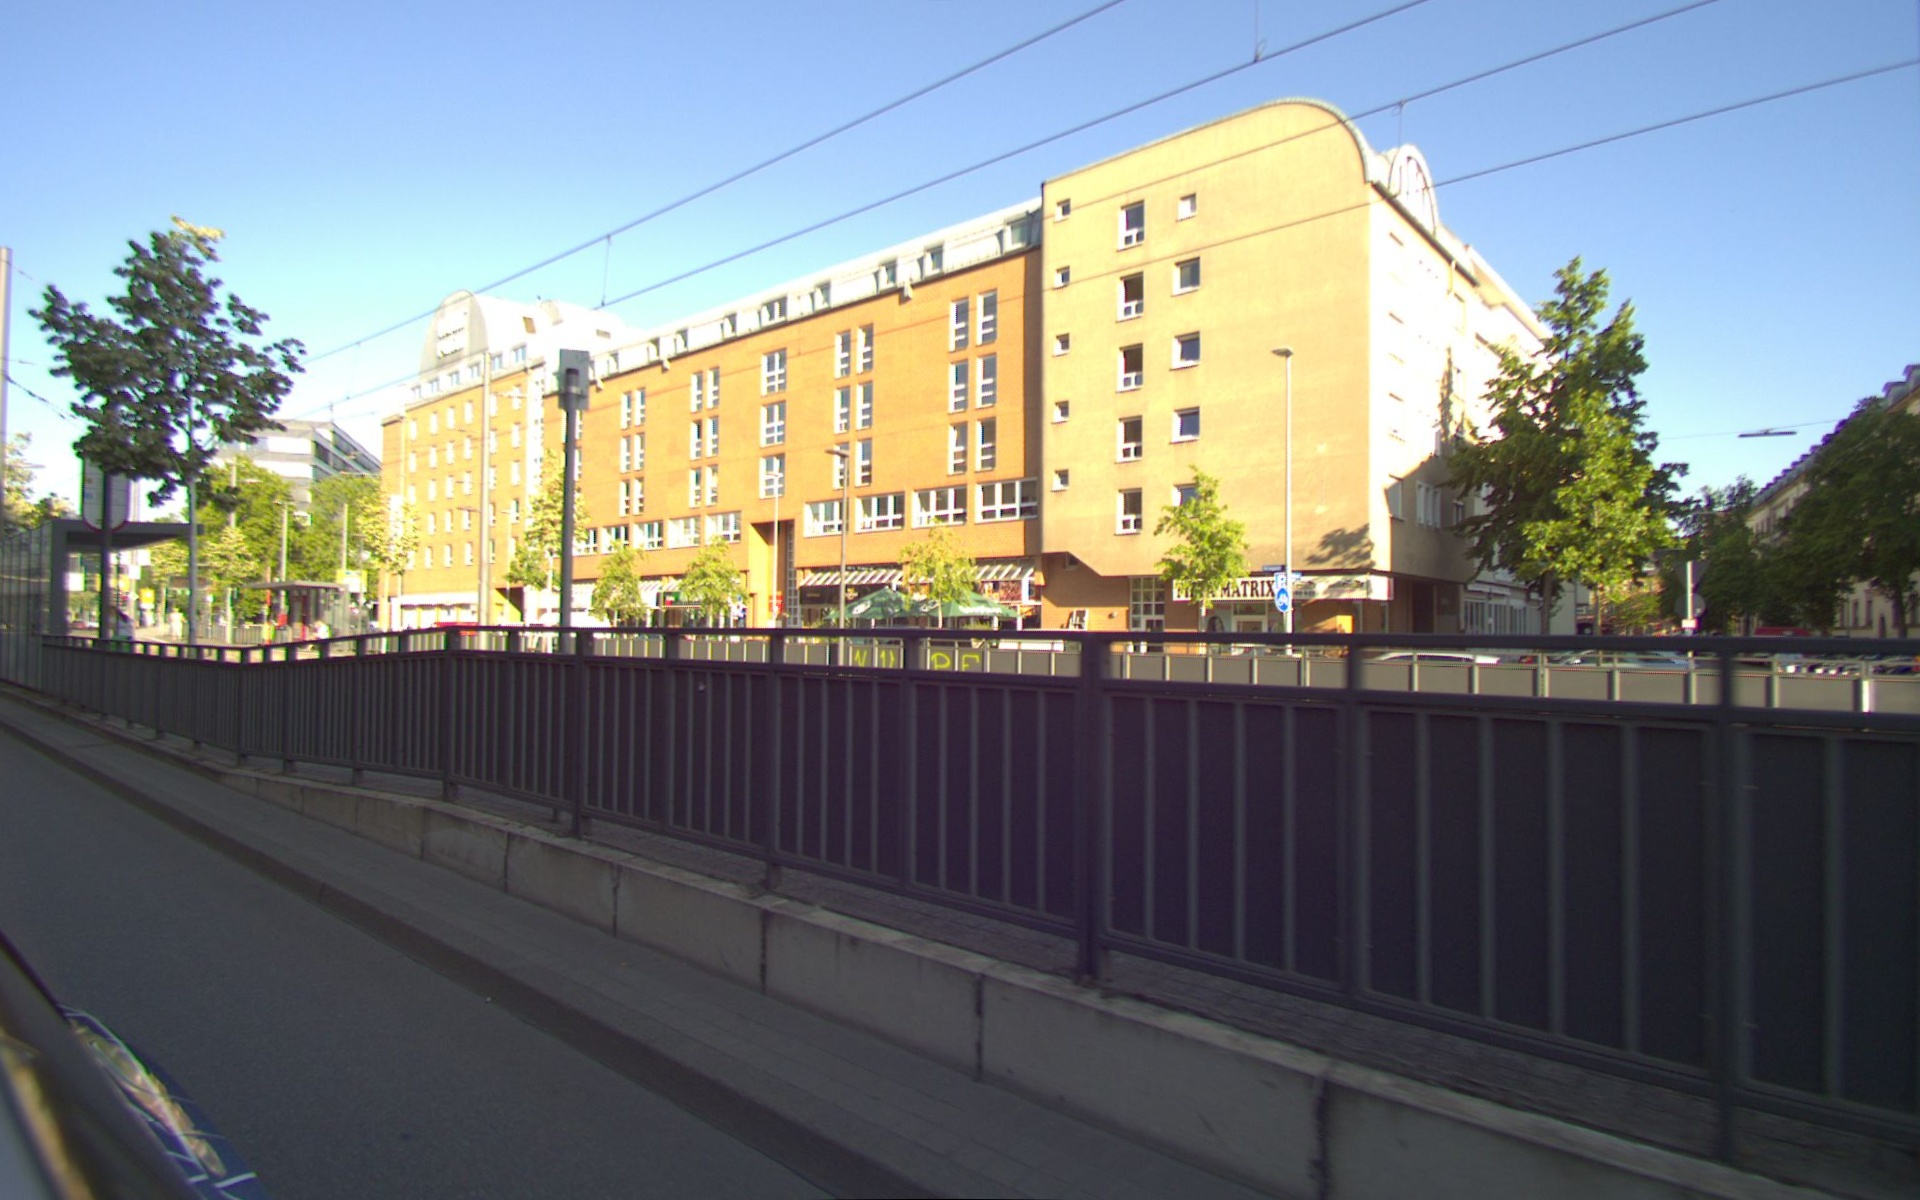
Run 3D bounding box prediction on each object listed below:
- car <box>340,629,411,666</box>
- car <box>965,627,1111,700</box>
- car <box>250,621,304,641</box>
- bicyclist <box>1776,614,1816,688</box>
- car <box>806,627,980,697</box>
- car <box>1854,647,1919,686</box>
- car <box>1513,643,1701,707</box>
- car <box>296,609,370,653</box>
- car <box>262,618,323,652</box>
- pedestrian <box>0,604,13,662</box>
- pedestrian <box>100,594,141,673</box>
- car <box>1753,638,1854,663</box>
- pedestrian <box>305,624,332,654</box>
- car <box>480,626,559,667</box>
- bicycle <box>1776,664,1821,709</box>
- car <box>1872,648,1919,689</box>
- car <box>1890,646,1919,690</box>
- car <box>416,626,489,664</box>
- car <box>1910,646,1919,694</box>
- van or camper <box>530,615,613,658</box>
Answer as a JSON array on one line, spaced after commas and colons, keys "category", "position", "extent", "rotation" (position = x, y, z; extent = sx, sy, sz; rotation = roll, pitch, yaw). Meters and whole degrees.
[{"category": "car", "position": [-30.382, 2.468, 52.601], "extent": [4.313, 1.881, 1.866], "rotation": [-2, -3, 41]}, {"category": "car", "position": [2.297, 1.877, 30.619], "extent": [1.970, 2.029, 4.151], "rotation": [2, -4, -43]}, {"category": "car", "position": [-72.002, 3.247, 106.780], "extent": [1.999, 2.029, 4.324], "rotation": [-1, -2, 42]}, {"category": "bicyclist", "position": [19.359, 1.173, 23.449], "extent": [0.665, 1.693, 0.481], "rotation": [-1, -3, 37]}, {"category": "car", "position": [-1.924, 1.635, 27.844], "extent": [4.943, 1.730, 1.971], "rotation": [-1, -3, 44]}, {"category": "car", "position": [37.723, 2.578, 39.526], "extent": [3.991, 1.513, 1.821], "rotation": [-2, -3, 36]}, {"category": "car", "position": [17.457, 1.980, 27.436], "extent": [4.148, 1.597, 1.821], "rotation": [-2, -3, 36]}, {"category": "car", "position": [-35.246, 1.756, 56.840], "extent": [4.916, 2.376, 2.025], "rotation": [-1, -3, 40]}, {"category": "car", "position": [-47.157, 2.462, 71.450], "extent": [5.259, 2.306, 2.058], "rotation": [-1, -2, 39]}, {"category": "pedestrian", "position": [-29.043, 0.992, 30.432], "extent": [0.651, 1.745, 0.712], "rotation": [-1, -3, 40]}, {"category": "pedestrian", "position": [-15.087, 0.603, 18.191], "extent": [0.406, 1.396, 0.425], "rotation": [-1, -2, 29]}, {"category": "car", "position": [52.887, 3.184, 63.601], "extent": [4.702, 1.513, 1.821], "rotation": [-2, -3, 36]}, {"category": "pedestrian", "position": [-25.738, 1.560, 40.609], "extent": [0.905, 1.199, 0.666], "rotation": [-1, -3, 40]}, {"category": "car", "position": [-20.889, 2.202, 47.901], "extent": [4.316, 1.881, 1.865], "rotation": [-3, -4, 43]}, {"category": "bicycle", "position": [19.316, 1.974, 23.335], "extent": [0.684, 0.955, 1.720], "rotation": [-1, -3, 37]}, {"category": "car", "position": [36.285, 2.510, 37.114], "extent": [3.991, 1.513, 1.821], "rotation": [-2, -3, 36]}, {"category": "car", "position": [34.907, 2.328, 34.840], "extent": [3.991, 1.513, 1.821], "rotation": [-2, -3, 36]}, {"category": "car", "position": [-26.624, 2.364, 53.015], "extent": [4.312, 1.881, 1.867], "rotation": [-2, -3, 40]}, {"category": "car", "position": [32.238, 2.171, 31.236], "extent": [3.991, 1.513, 1.821], "rotation": [-2, -3, 36]}, {"category": "van or camper", "position": [-21.276, 2.025, 55.332], "extent": [5.614, 2.186, 1.972], "rotation": [-4, -4, 42]}]
